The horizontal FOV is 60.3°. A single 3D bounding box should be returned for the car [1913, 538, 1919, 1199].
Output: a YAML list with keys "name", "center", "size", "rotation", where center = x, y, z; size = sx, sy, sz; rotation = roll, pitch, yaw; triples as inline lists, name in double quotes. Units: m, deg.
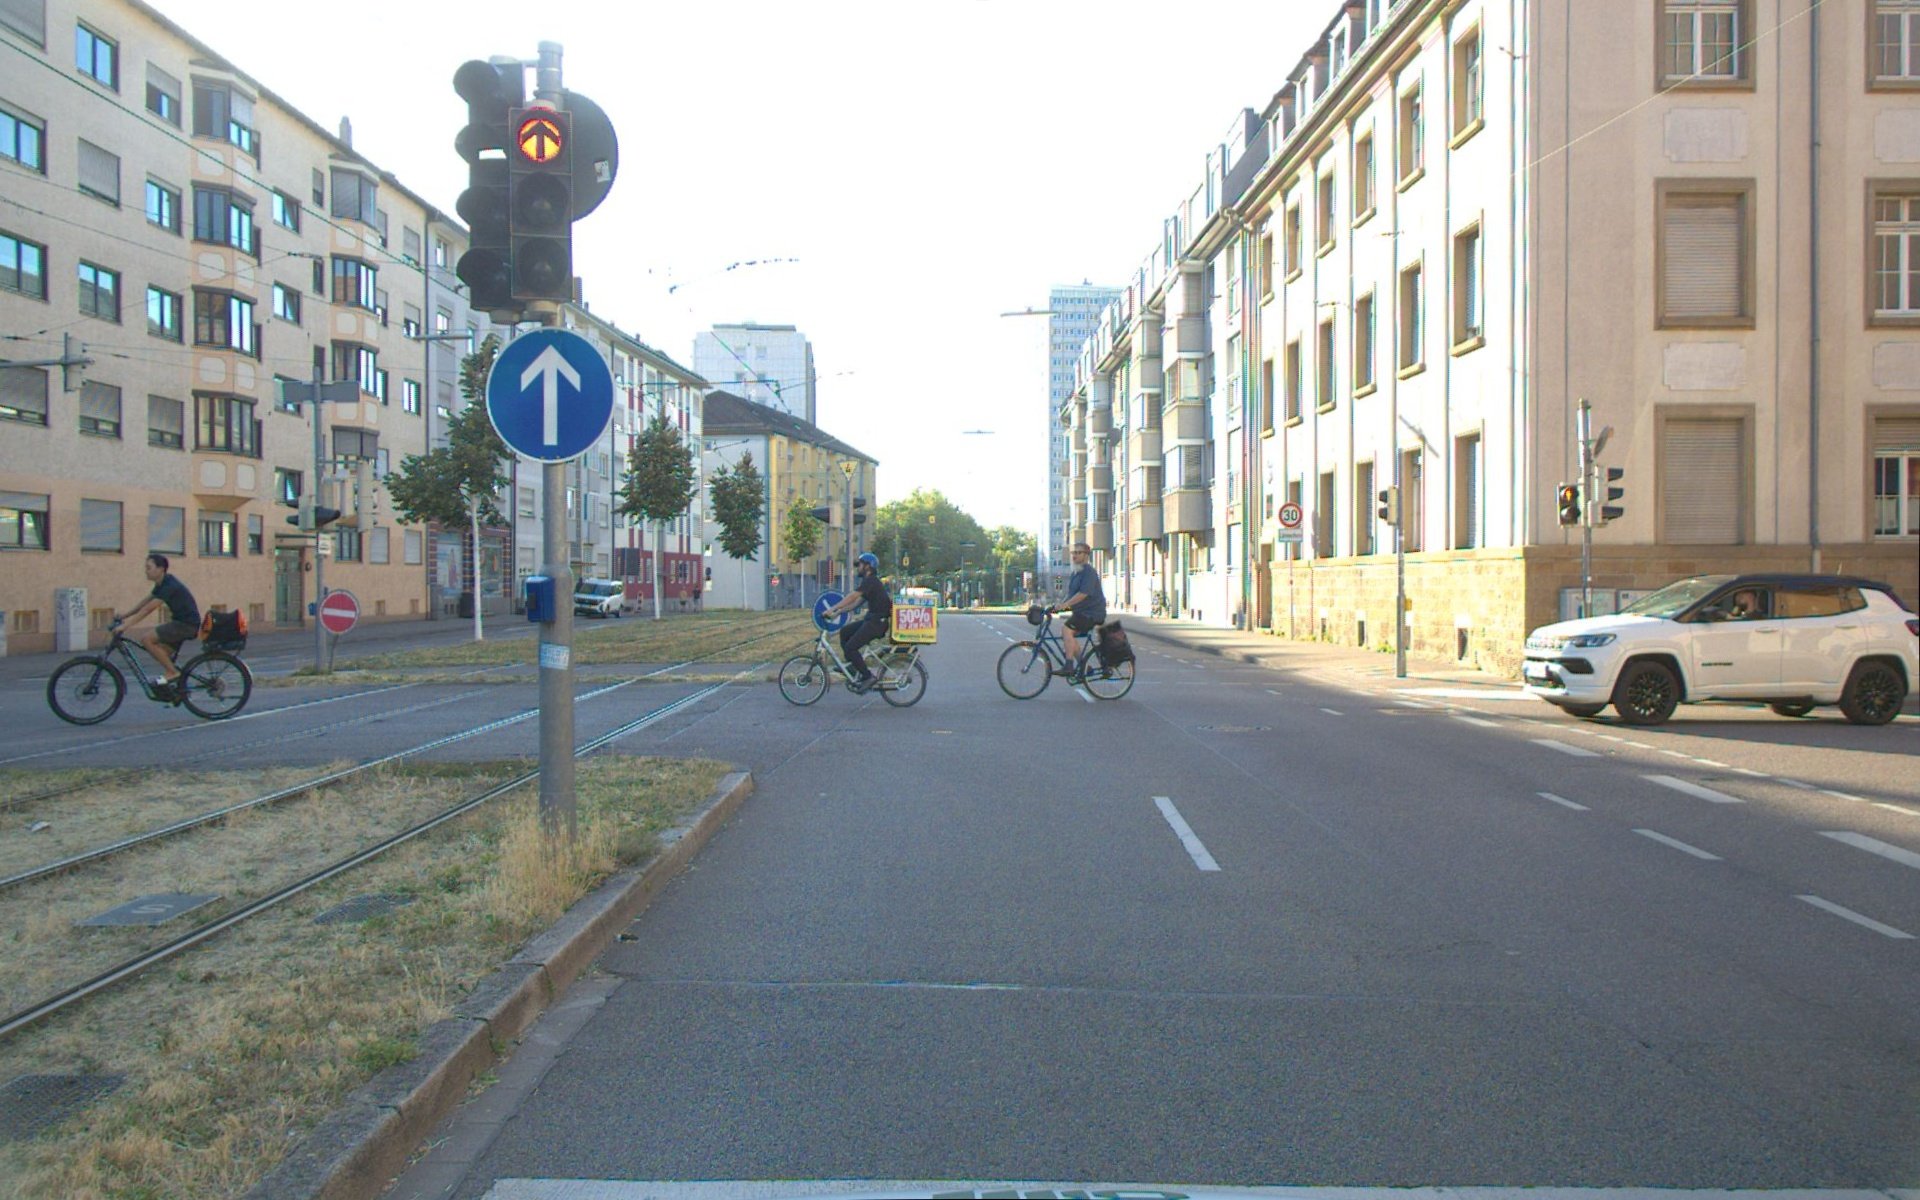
- name: "car"
  center: [2.874, 0.679, 1.401]
  size: [1.734, 1.603, 4.085]
  rotation: [-1, 0, -1]

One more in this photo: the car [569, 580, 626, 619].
- name: "car"
  center: [-17.776, -0.001, 81.300]
  size: [1.774, 1.829, 4.245]
  rotation: [2, 0, 0]

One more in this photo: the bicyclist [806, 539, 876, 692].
- name: "bicyclist"
  center: [-1.417, 0.186, 19.806]
  size: [0.777, 1.784, 0.720]
  rotation: [2, -1, -3]

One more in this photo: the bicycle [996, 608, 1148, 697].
- name: "bicycle"
  center: [1.443, 0.679, 21.444]
  size: [1.905, 1.113, 0.575]
  rotation: [1, 0, -4]

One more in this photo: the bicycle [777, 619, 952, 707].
- name: "bicycle"
  center: [-1.144, 0.743, 19.809]
  size: [2.031, 0.975, 0.746]
  rotation: [1, 0, -4]

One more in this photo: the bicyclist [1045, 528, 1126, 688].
- name: "bicyclist"
  center: [1.607, 0.097, 21.356]
  size: [0.940, 2.023, 0.672]
  rotation: [-1, 0, -4]

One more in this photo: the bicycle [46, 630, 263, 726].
- name: "bicycle"
  center: [-8.251, 0.781, 16.998]
  size: [1.955, 0.909, 0.779]
  rotation: [1, 0, -27]

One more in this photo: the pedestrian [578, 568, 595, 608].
- name: "pedestrian"
  center: [-19.367, -0.642, 85.768]
  size: [0.771, 2.049, 0.890]
  rotation: [0, 0, -4]

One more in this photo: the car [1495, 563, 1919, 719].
- name: "car"
  center: [8.599, 0.441, 18.891]
  size: [4.331, 1.670, 1.998]
  rotation: [0, 0, -4]

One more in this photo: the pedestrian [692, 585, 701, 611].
- name: "pedestrian"
  center: [-17.367, -0.115, 108.974]
  size: [0.485, 1.687, 0.408]
  rotation: [-1, 0, -1]

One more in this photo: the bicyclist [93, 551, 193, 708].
- name: "bicyclist"
  center: [-8.356, 0.287, 16.931]
  size: [0.892, 1.553, 0.642]
  rotation: [0, 0, -27]

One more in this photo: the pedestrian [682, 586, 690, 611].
- name: "pedestrian"
  center: [-17.988, -0.104, 108.556]
  size: [0.485, 1.687, 0.408]
  rotation: [-1, 0, -1]
